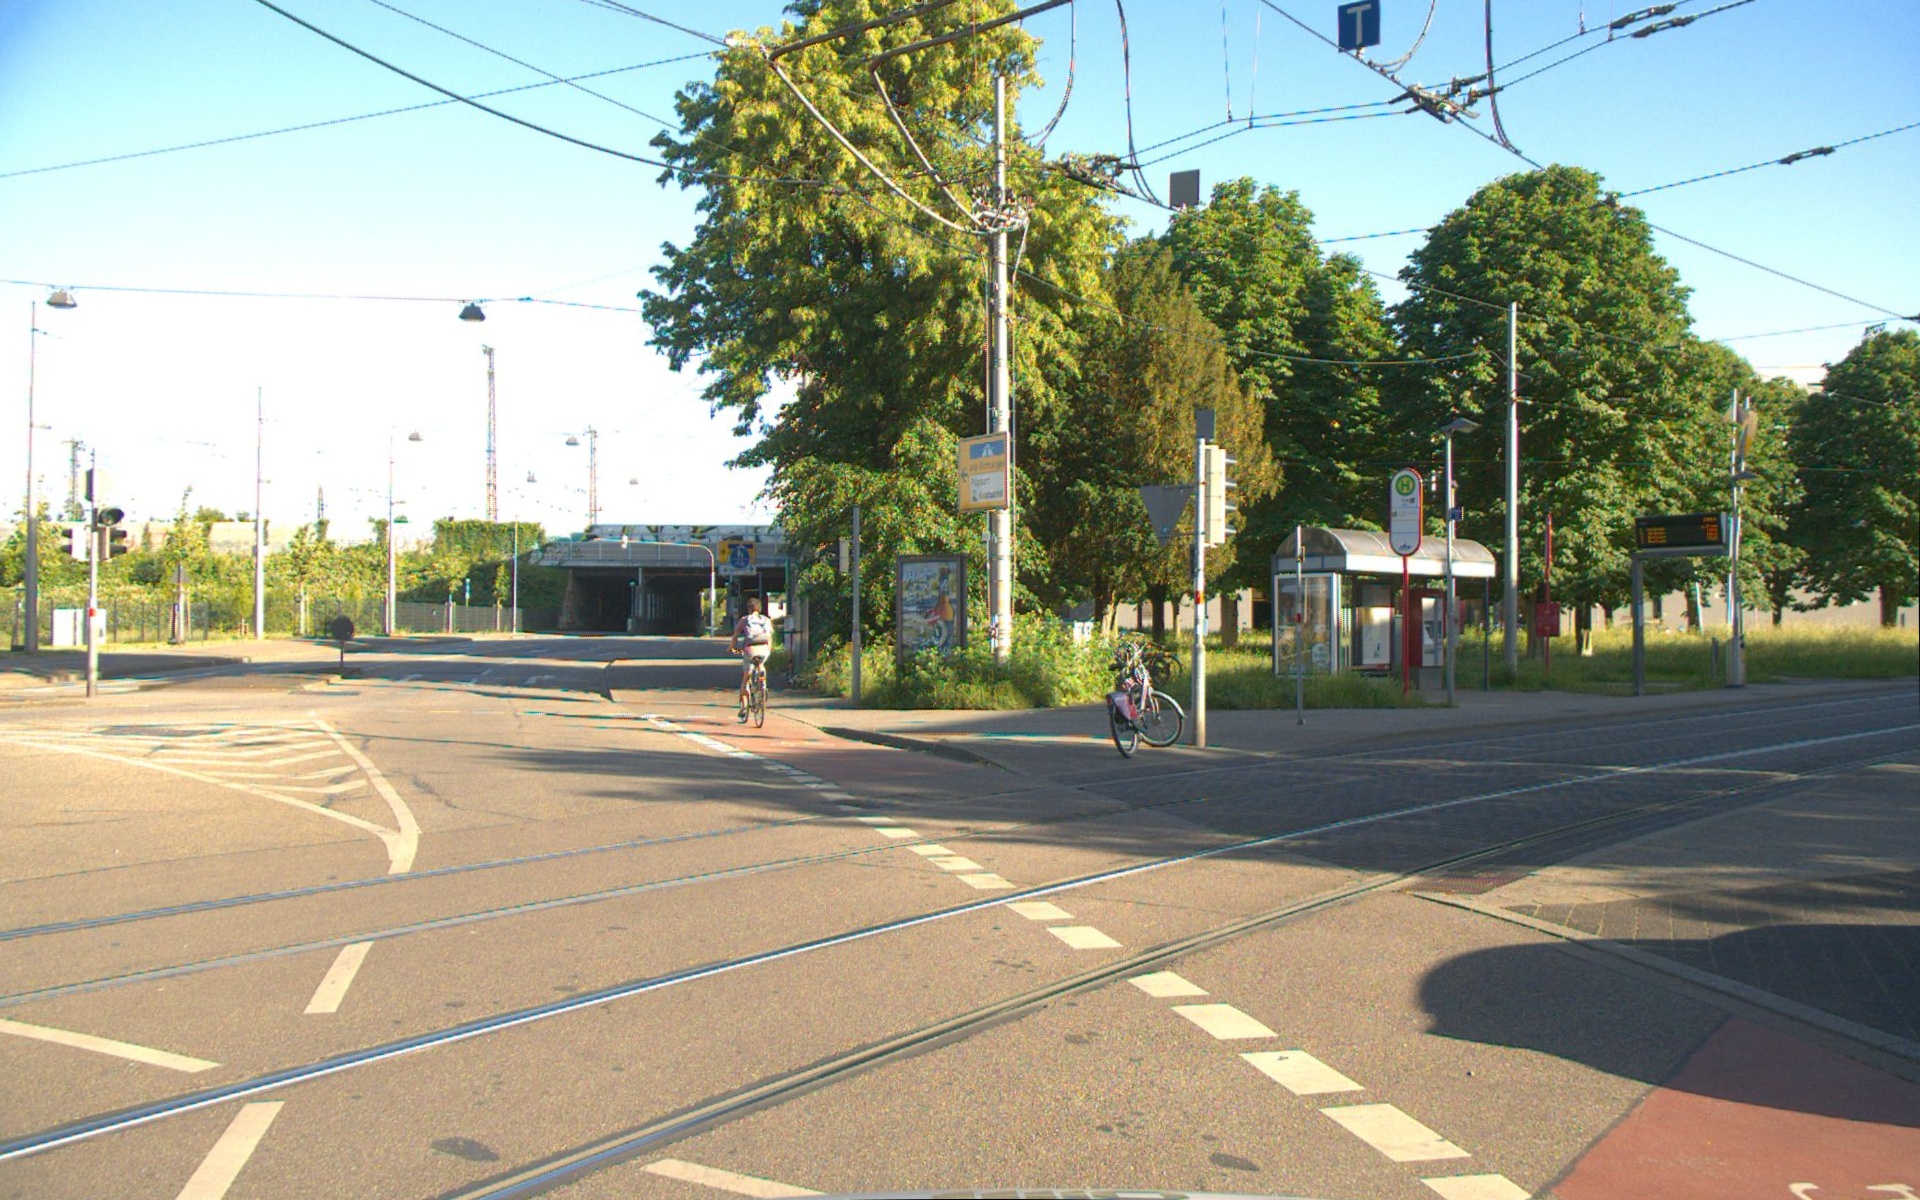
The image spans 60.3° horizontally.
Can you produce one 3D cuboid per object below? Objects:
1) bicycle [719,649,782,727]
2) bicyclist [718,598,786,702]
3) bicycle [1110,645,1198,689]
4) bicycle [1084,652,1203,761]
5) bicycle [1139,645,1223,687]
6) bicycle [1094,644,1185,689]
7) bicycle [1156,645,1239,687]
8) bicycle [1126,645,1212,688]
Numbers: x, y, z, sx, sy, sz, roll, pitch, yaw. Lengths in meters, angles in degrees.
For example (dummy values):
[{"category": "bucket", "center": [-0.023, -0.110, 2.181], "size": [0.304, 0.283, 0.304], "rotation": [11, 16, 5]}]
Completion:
[{"category": "bicycle", "center": [-3.203, 1.315, 25.133], "size": [0.656, 1.078, 2.073], "rotation": [0, -1, -16]}, {"category": "bicyclist", "center": [-3.163, 0.741, 25.067], "size": [0.826, 1.536, 1.363], "rotation": [0, -1, -15]}, {"category": "bicycle", "center": [4.298, 1.477, 36.666], "size": [1.840, 0.922, 0.659], "rotation": [0, -1, 27]}, {"category": "bicycle", "center": [2.033, 1.126, 18.089], "size": [0.808, 1.078, 1.882], "rotation": [0, -1, 22]}, {"category": "bicycle", "center": [5.116, 1.526, 38.327], "size": [1.840, 0.922, 0.659], "rotation": [0, -1, 27]}, {"category": "bicycle", "center": [3.880, 1.436, 35.771], "size": [1.840, 0.922, 0.659], "rotation": [0, -1, 27]}, {"category": "bicycle", "center": [5.613, 1.552, 39.085], "size": [1.840, 0.922, 0.659], "rotation": [0, -1, 27]}, {"category": "bicycle", "center": [4.726, 1.501, 37.435], "size": [1.840, 0.922, 0.659], "rotation": [0, -1, 27]}]
